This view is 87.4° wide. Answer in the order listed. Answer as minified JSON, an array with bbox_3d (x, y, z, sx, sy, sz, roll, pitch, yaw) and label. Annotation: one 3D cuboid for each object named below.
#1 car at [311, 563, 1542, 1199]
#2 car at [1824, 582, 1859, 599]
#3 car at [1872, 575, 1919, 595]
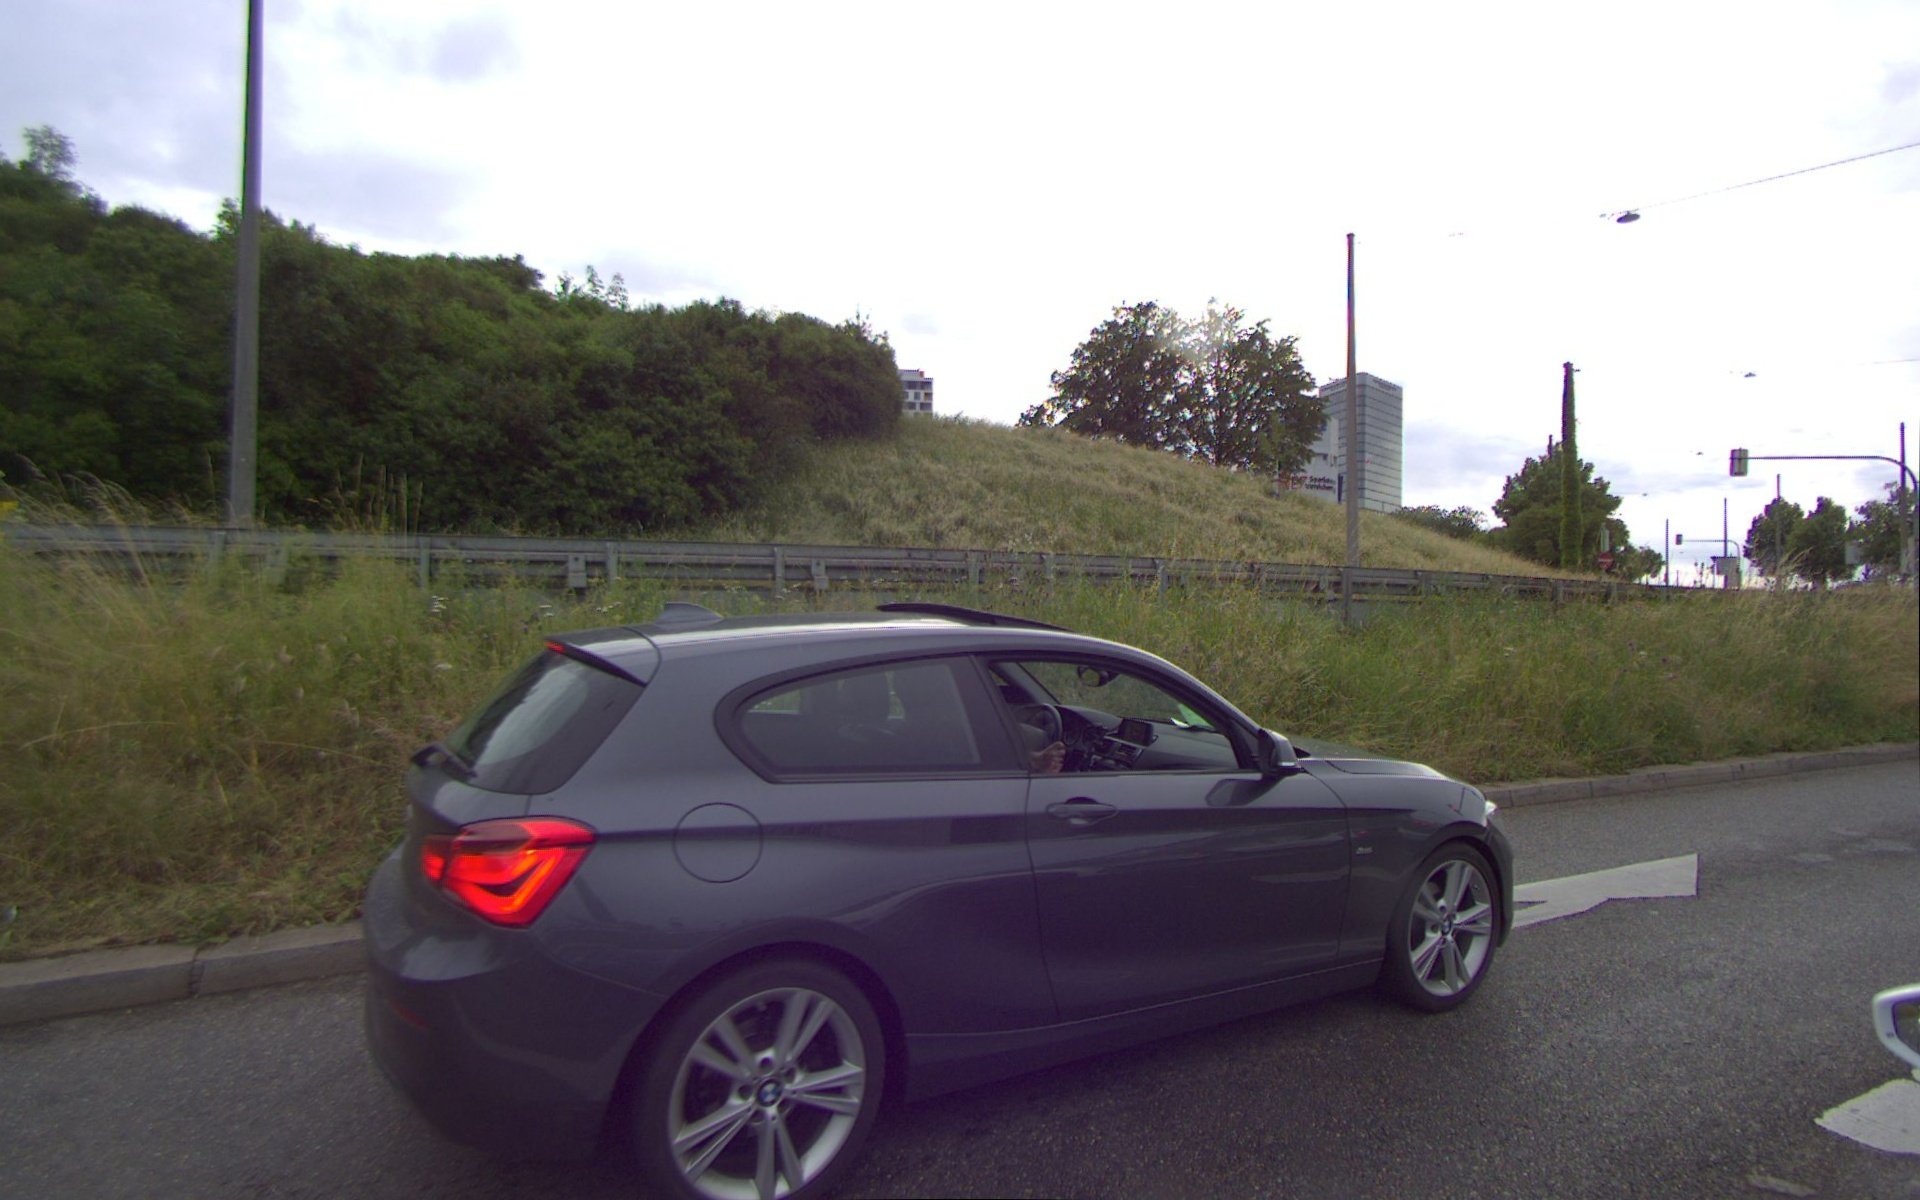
[{"bbox_3d":[0.122,0.734,3.656,4.067,1.479,1.694,2,-1,-31],"label":"car"},{"bbox_3d":[96.129,-0.987,109.578,1.964,1.681,4.537,2,0,29],"label":"car"},{"bbox_3d":[86.972,-1.359,93.281,1.961,1.681,4.543,2,0,23],"label":"car"}]
